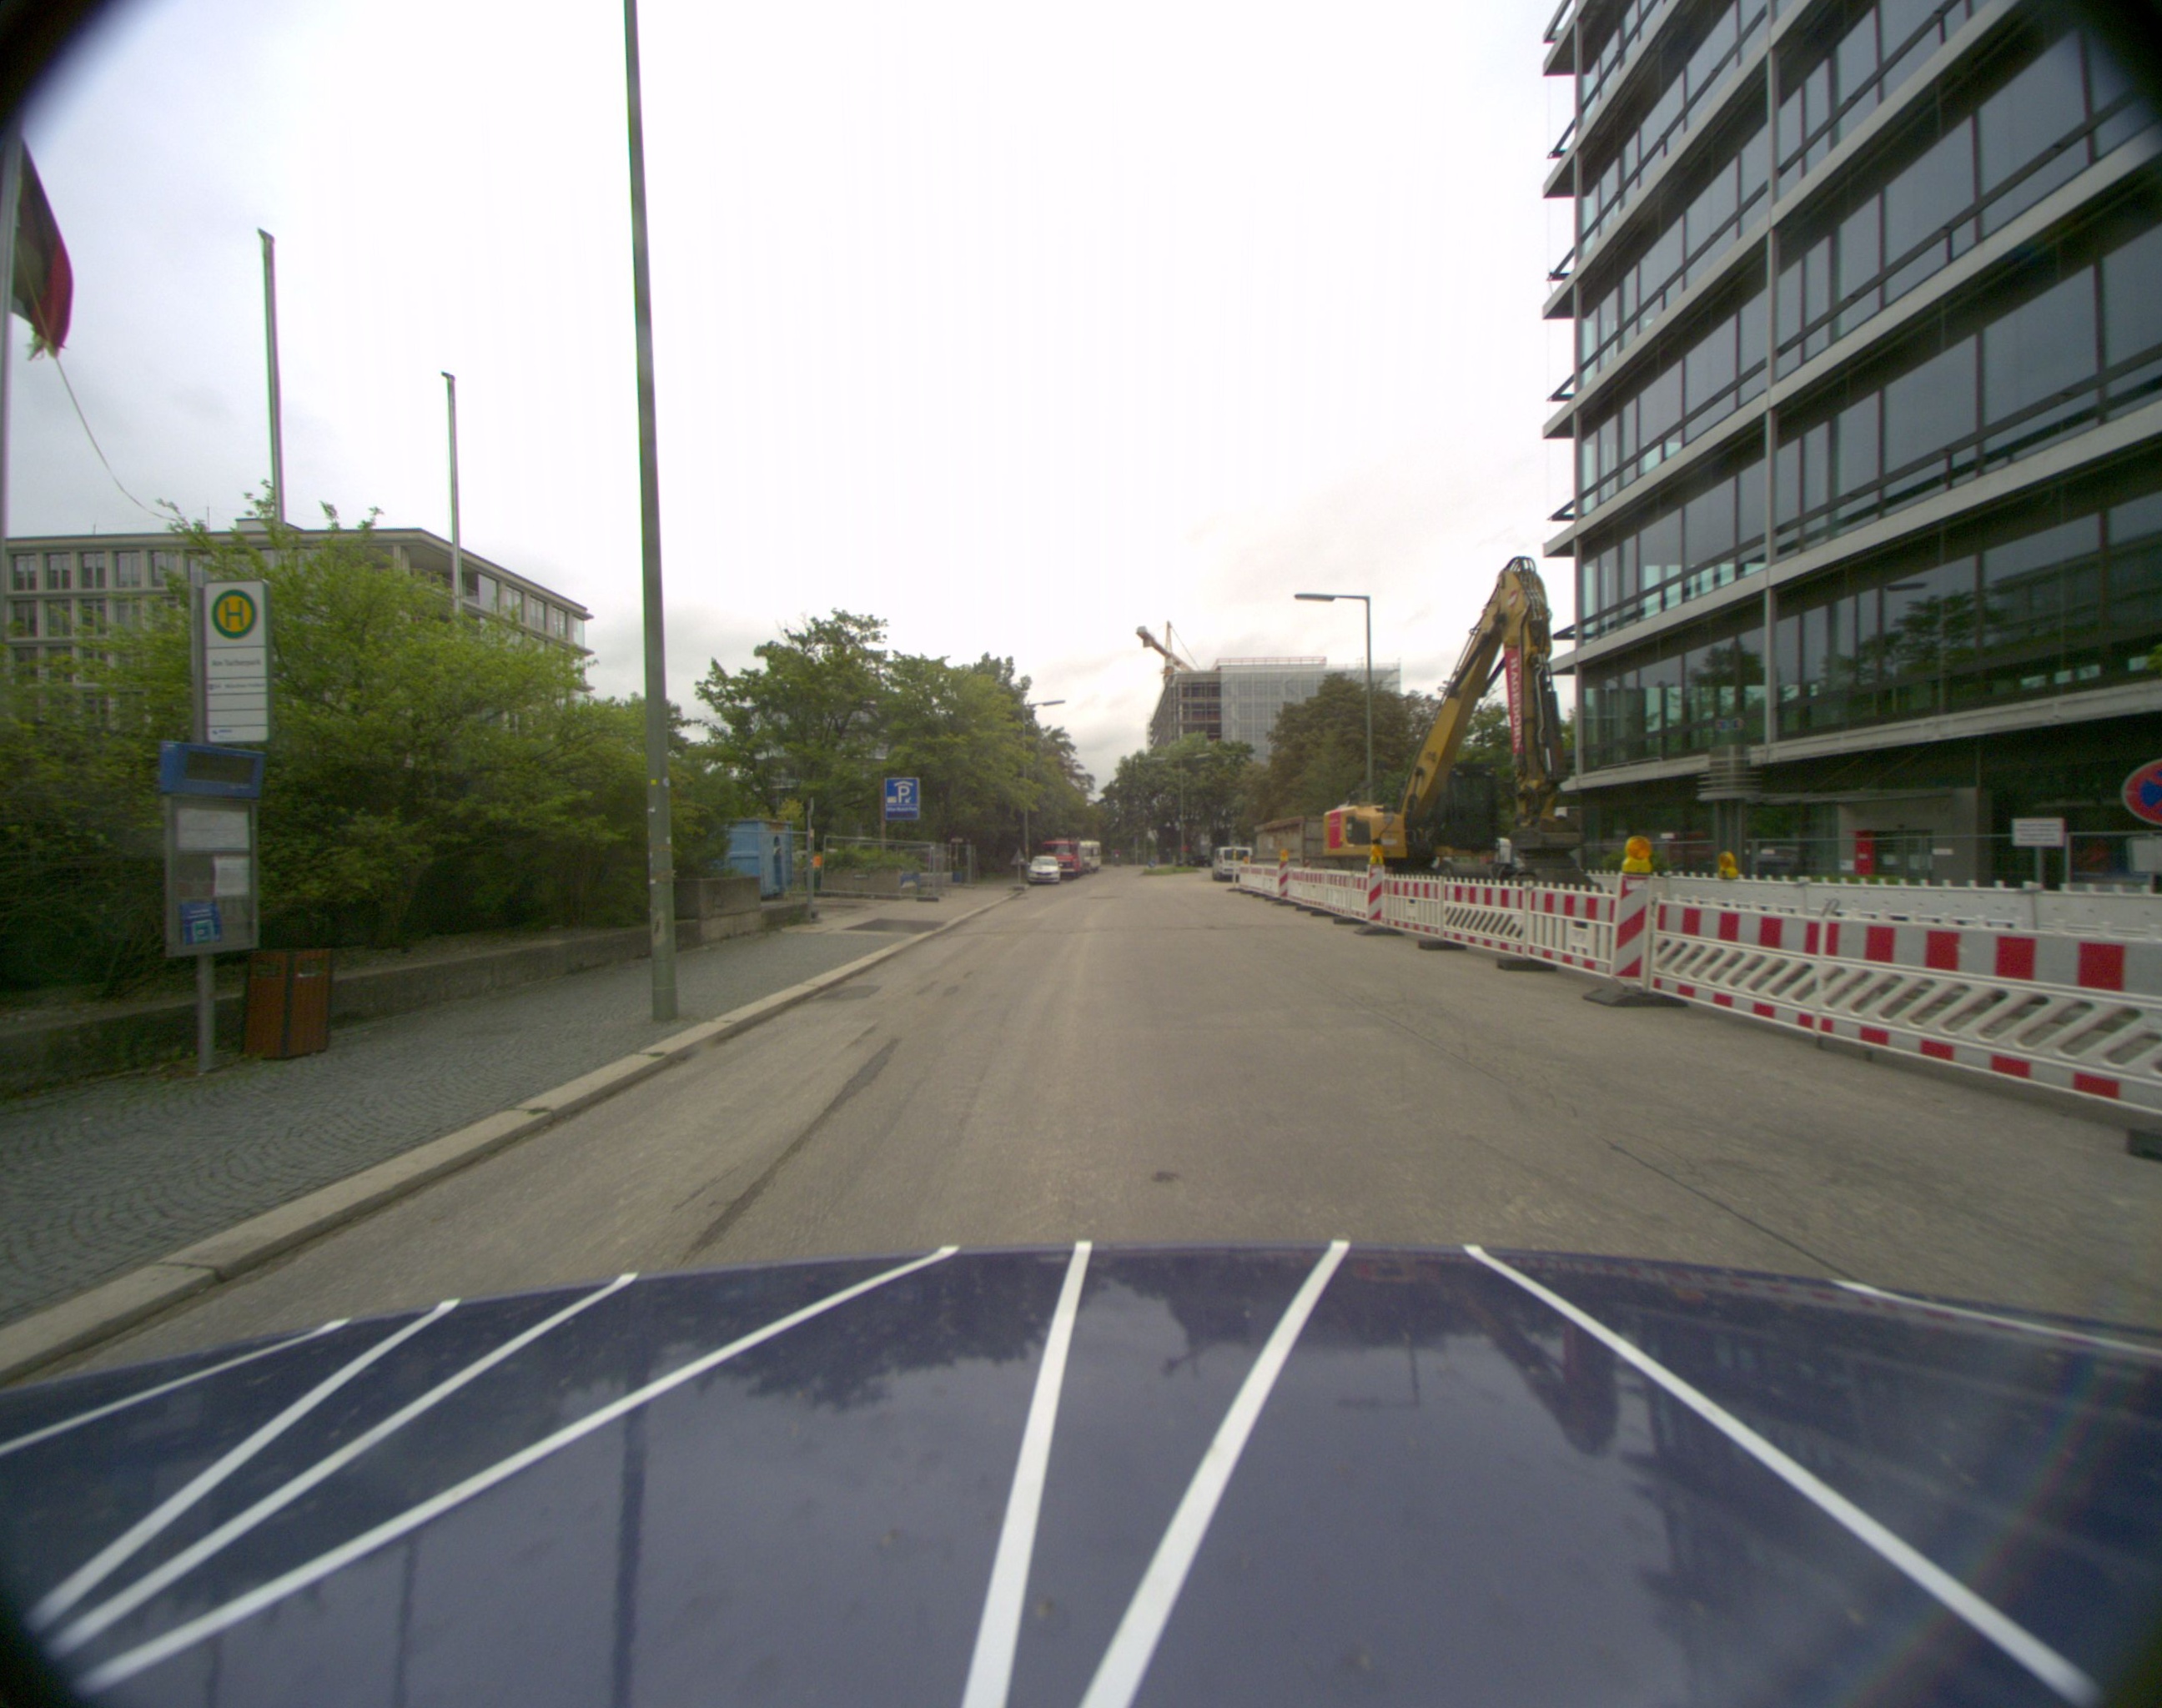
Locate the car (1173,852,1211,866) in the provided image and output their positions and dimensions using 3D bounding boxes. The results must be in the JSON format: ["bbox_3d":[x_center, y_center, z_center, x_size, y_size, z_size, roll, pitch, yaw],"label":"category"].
[{"bbox_3d":[12.611,0.587,86.381,3.891,1.564,1.786,0,2,-21],"label":"car"}]

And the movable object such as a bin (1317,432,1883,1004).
[{"bbox_3d":[7.753,-1.588,14.601,2.911,6.526,11.783,0,1,1],"label":"movable object such as a bin"}]

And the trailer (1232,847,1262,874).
[{"bbox_3d":[14.102,0.534,64.381,1.778,2.169,2.782,2,1,28],"label":"trailer"}]

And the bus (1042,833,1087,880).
[{"bbox_3d":[-0.958,0.131,48.457,2.077,2.789,6.275,0,0,6],"label":"bus"}]

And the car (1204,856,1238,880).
[{"bbox_3d":[9.234,0.884,50.512,1.997,1.450,4.122,2,1,8],"label":"car"}]

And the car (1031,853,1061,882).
[{"bbox_3d":[-1.891,0.701,41.843,1.536,1.483,4.059,0,1,-1],"label":"car"}]

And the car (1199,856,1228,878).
[{"bbox_3d":[9.664,0.940,55.077,1.739,1.450,4.035,2,1,14],"label":"car"}]

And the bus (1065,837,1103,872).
[{"bbox_3d":[0.311,0.012,61.960,2.076,2.714,5.871,0,0,11],"label":"bus"}]

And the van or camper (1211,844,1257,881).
[{"bbox_3d":[8.923,0.490,44.773,1.993,2.022,5.589,1,0,5],"label":"van or camper"}]

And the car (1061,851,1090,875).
[{"bbox_3d":[-0.369,0.628,54.772,1.782,1.630,4.399,0,0,4],"label":"car"}]
